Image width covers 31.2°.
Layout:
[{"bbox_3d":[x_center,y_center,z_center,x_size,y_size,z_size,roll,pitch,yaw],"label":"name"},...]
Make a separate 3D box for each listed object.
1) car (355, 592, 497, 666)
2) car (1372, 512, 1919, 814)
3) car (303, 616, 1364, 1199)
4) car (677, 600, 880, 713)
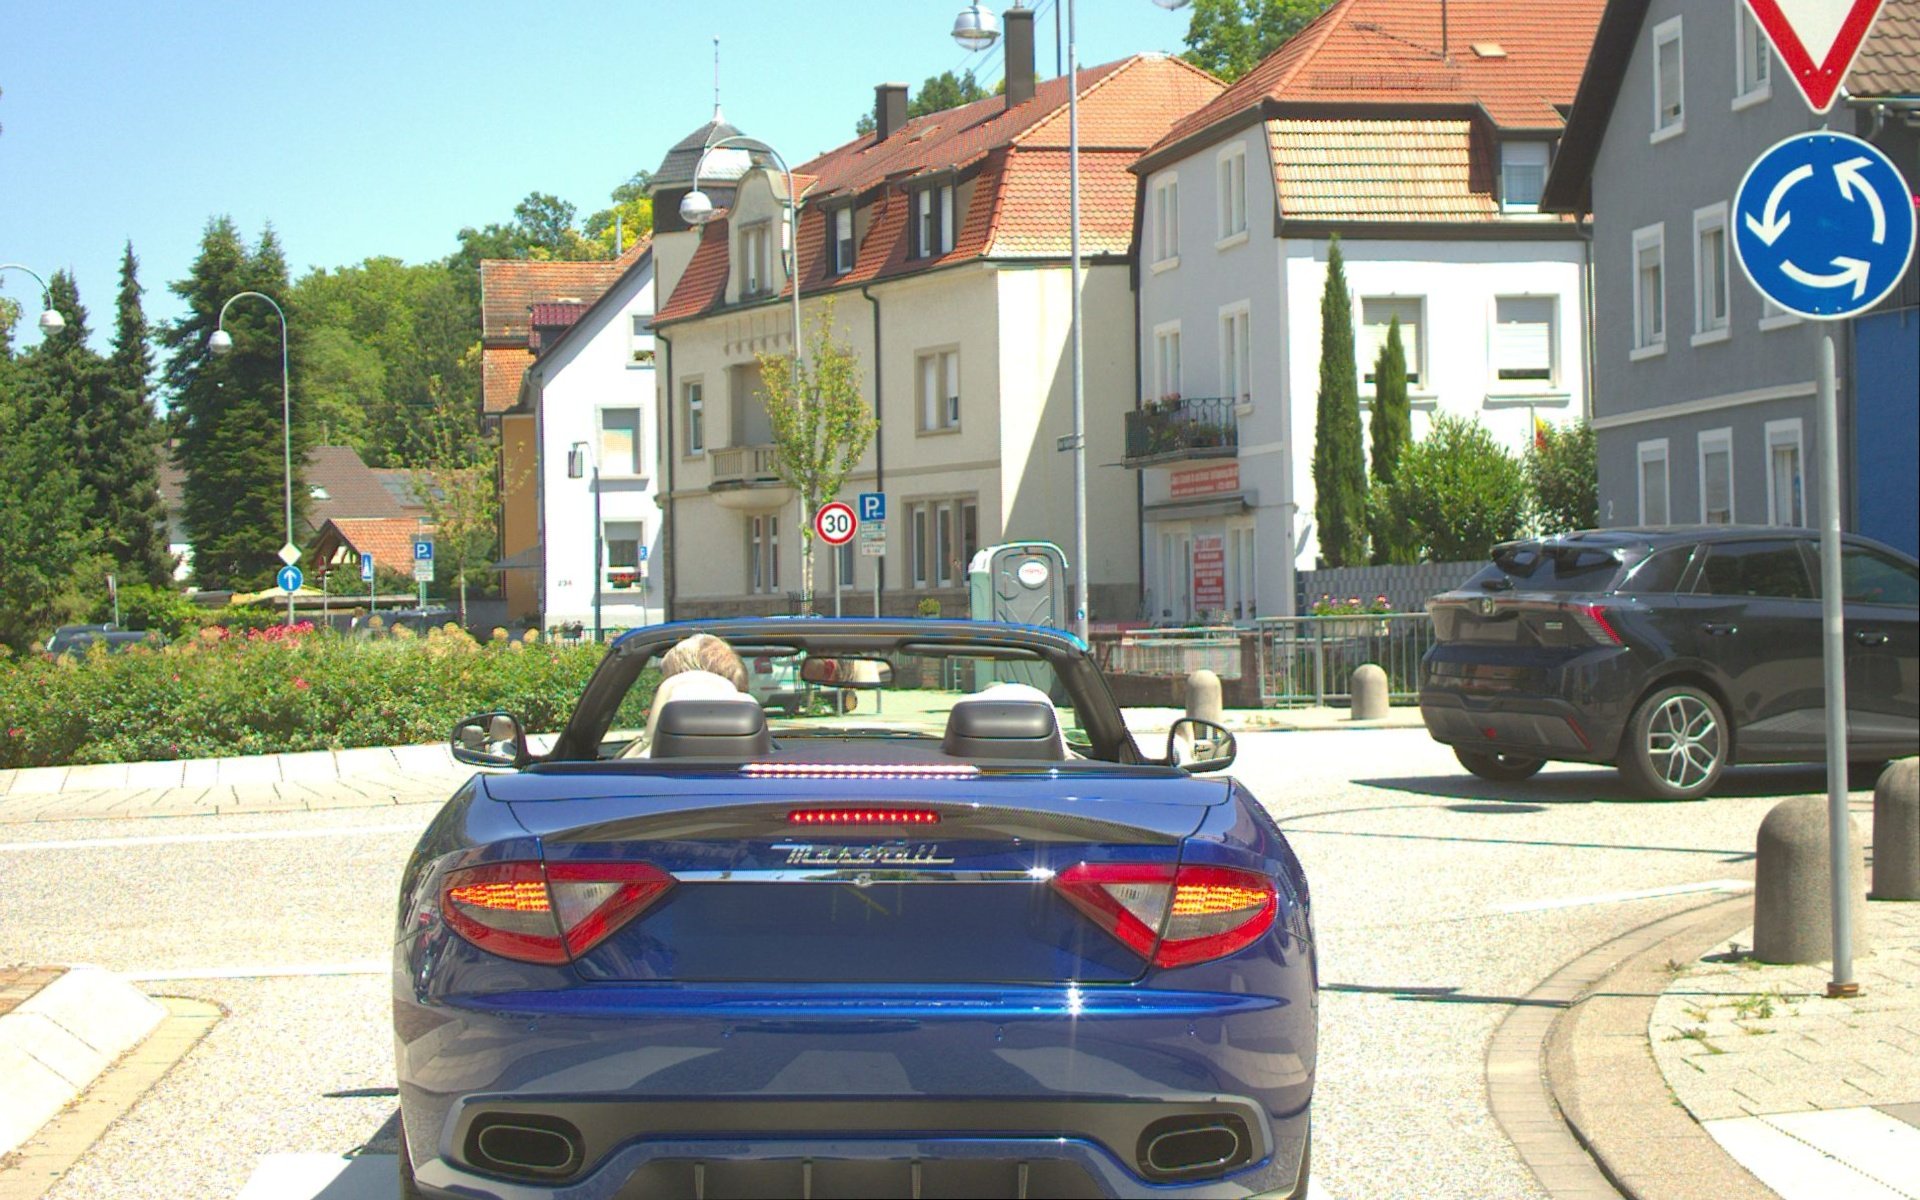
[{"bbox_3d":[-12.424,0.690,79.820,1.850,1.583,4.000,-3,0,-31],"label":"car"},{"bbox_3d":[4.716,0.291,19.979,4.248,1.542,1.812,-2,2,-24],"label":"car"},{"bbox_3d":[-0.207,0.731,8.341,1.910,1.356,4.285,0,0,1],"label":"car"},{"bbox_3d":[-2.833,0.885,52.776,1.918,1.607,4.148,-2,-1,-20],"label":"car"}]
